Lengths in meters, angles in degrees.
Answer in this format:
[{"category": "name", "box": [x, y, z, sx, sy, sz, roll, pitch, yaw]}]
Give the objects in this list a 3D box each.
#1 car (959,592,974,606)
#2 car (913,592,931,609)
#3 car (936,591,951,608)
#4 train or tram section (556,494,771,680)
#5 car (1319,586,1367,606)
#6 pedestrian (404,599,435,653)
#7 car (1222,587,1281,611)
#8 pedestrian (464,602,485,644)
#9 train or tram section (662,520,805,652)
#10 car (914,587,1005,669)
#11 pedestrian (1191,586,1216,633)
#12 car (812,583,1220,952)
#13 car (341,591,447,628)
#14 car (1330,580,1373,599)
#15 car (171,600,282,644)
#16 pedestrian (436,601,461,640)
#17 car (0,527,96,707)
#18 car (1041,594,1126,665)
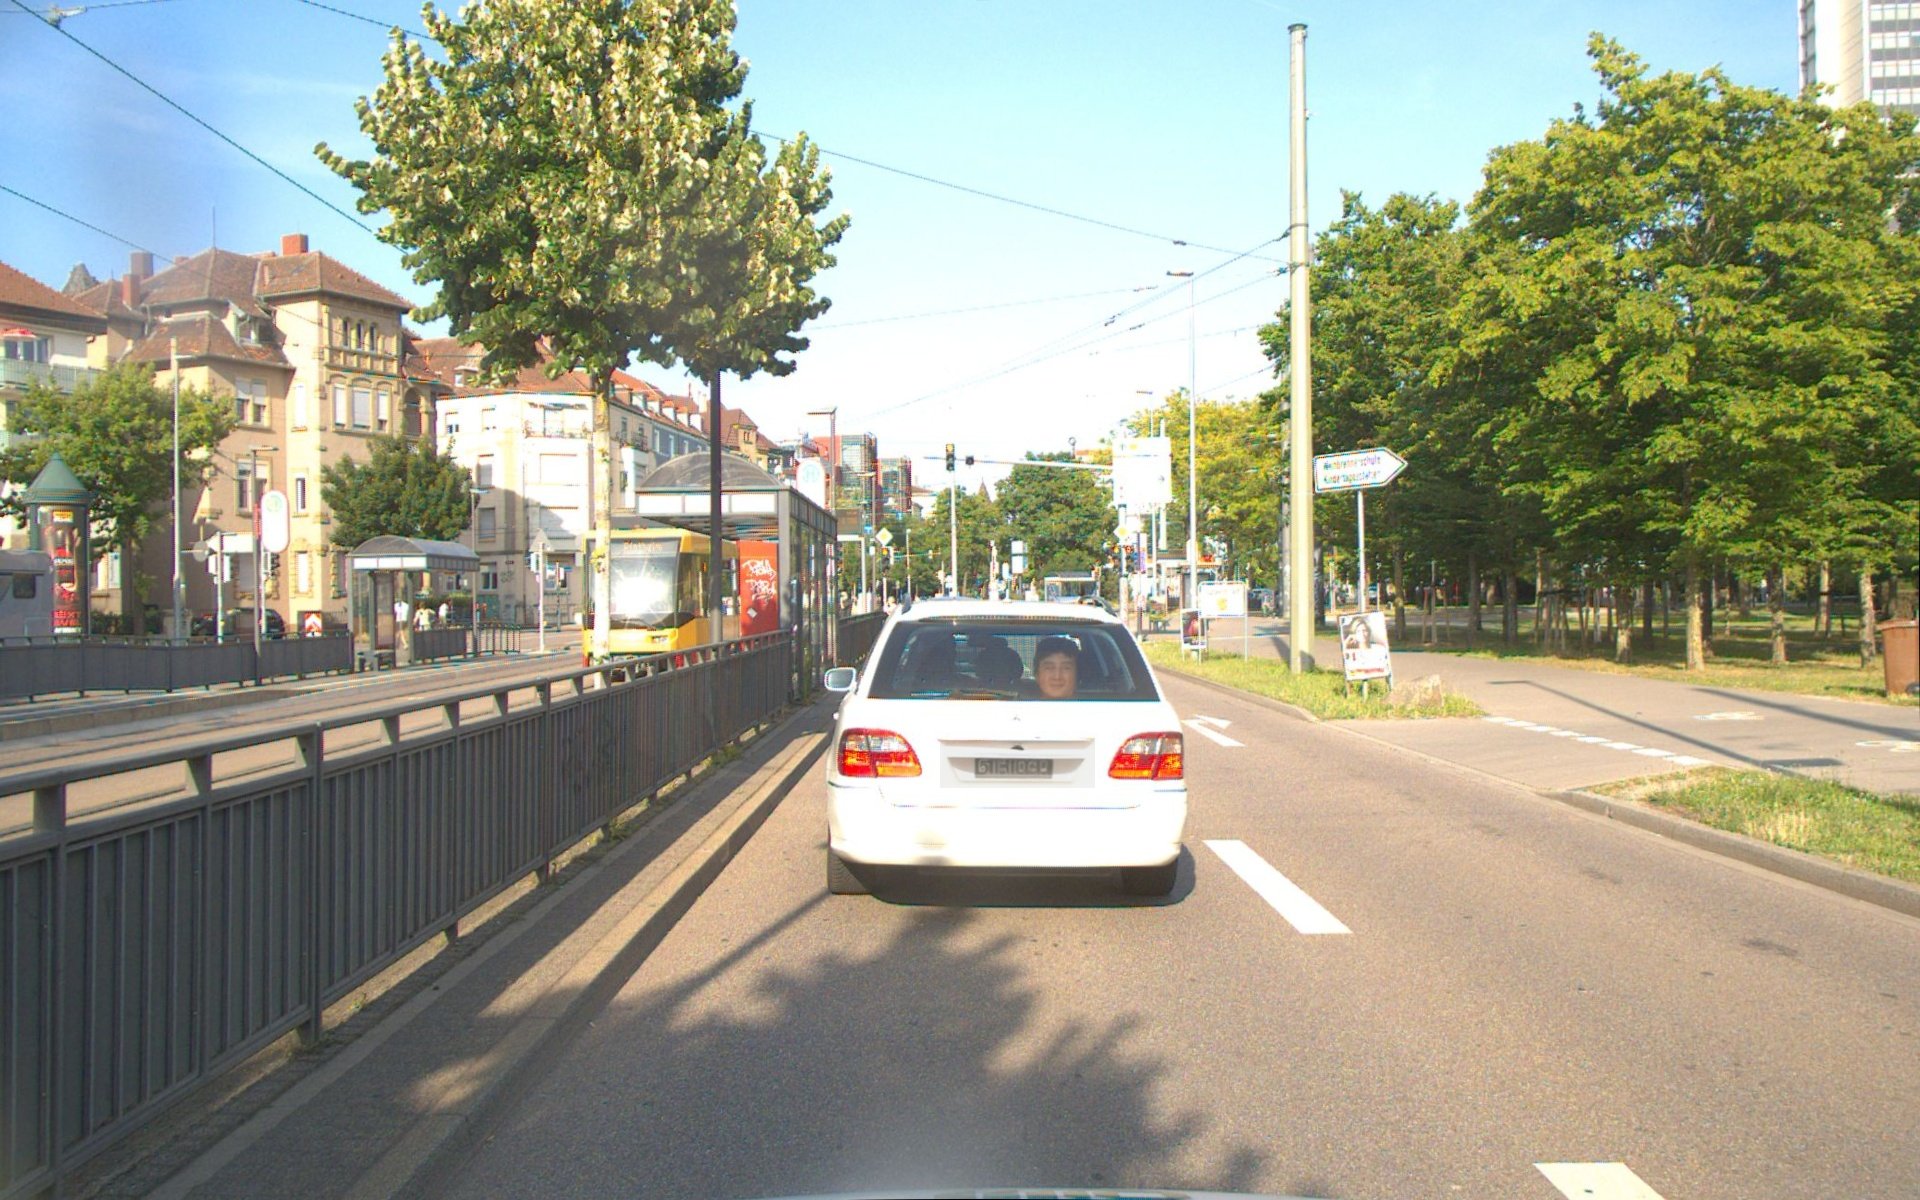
[{"category": "car", "box": [0.939, -0.175, 240.008, 1.953, 2.049, 3.999, -1, 0, -1]}, {"category": "car", "box": [-4.487, 0.049, 195.649, 1.953, 2.049, 3.999, -1, 0, -1]}, {"category": "car", "box": [-2.109, -0.041, 212.238, 1.953, 2.049, 3.999, -1, 0, -1]}, {"category": "train or tram section", "box": [-6.404, -0.316, 38.161, 2.792, 3.540, 13.197, 0, 1, -1]}, {"category": "car", "box": [34.794, -0.384, 150.137, 3.940, 1.680, 1.982, -1, 0, -27]}, {"category": "pedestrian", "box": [-18.086, 0.847, 55.341, 0.870, 1.784, 0.744, 0, 0, -11]}, {"category": "car", "box": [21.586, -0.107, 122.509, 3.908, 1.680, 1.999, -1, 0, 25]}, {"category": "pedestrian", "box": [-20.802, 0.969, 70.864, 0.651, 1.784, 0.746, 0, 0, 3]}, {"category": "train or tram section", "box": [-6.726, -0.434, 51.138, 2.791, 3.540, 13.197, 0, 0, -1]}, {"category": "car", "box": [0.052, 0.583, 36.755, 1.750, 1.719, 4.002, 0, 0, 4]}, {"category": "pedestrian", "box": [8.706, 0.340, 59.105, 0.867, 1.681, 0.746, 0, 0, 7]}, {"category": "car", "box": [0.175, 0.705, 9.120, 1.723, 1.530, 3.998, -2, 0, -2]}, {"category": "car", "box": [-26.585, 0.406, 77.864, 2.159, 1.656, 4.716, 0, 0, 22]}, {"category": "car", "box": [36.908, -1.022, 155.791, 3.902, 1.680, 2.002, -1, 0, 14]}, {"category": "car", "box": [-30.682, 0.919, 69.187, 3.903, 1.780, 2.001, 0, 0, 17]}, {"category": "pedestrian", "box": [-23.462, 0.944, 75.847, 0.868, 1.784, 0.746, 0, 0, 3]}, {"category": "car", "box": [-16.118, 0.276, 24.791, 2.544, 2.783, 7.466, 0, 0, -1]}, {"category": "car", "box": [3.042, 0.688, 41.009, 1.990, 1.633, 4.002, 0, 0, 4]}]
